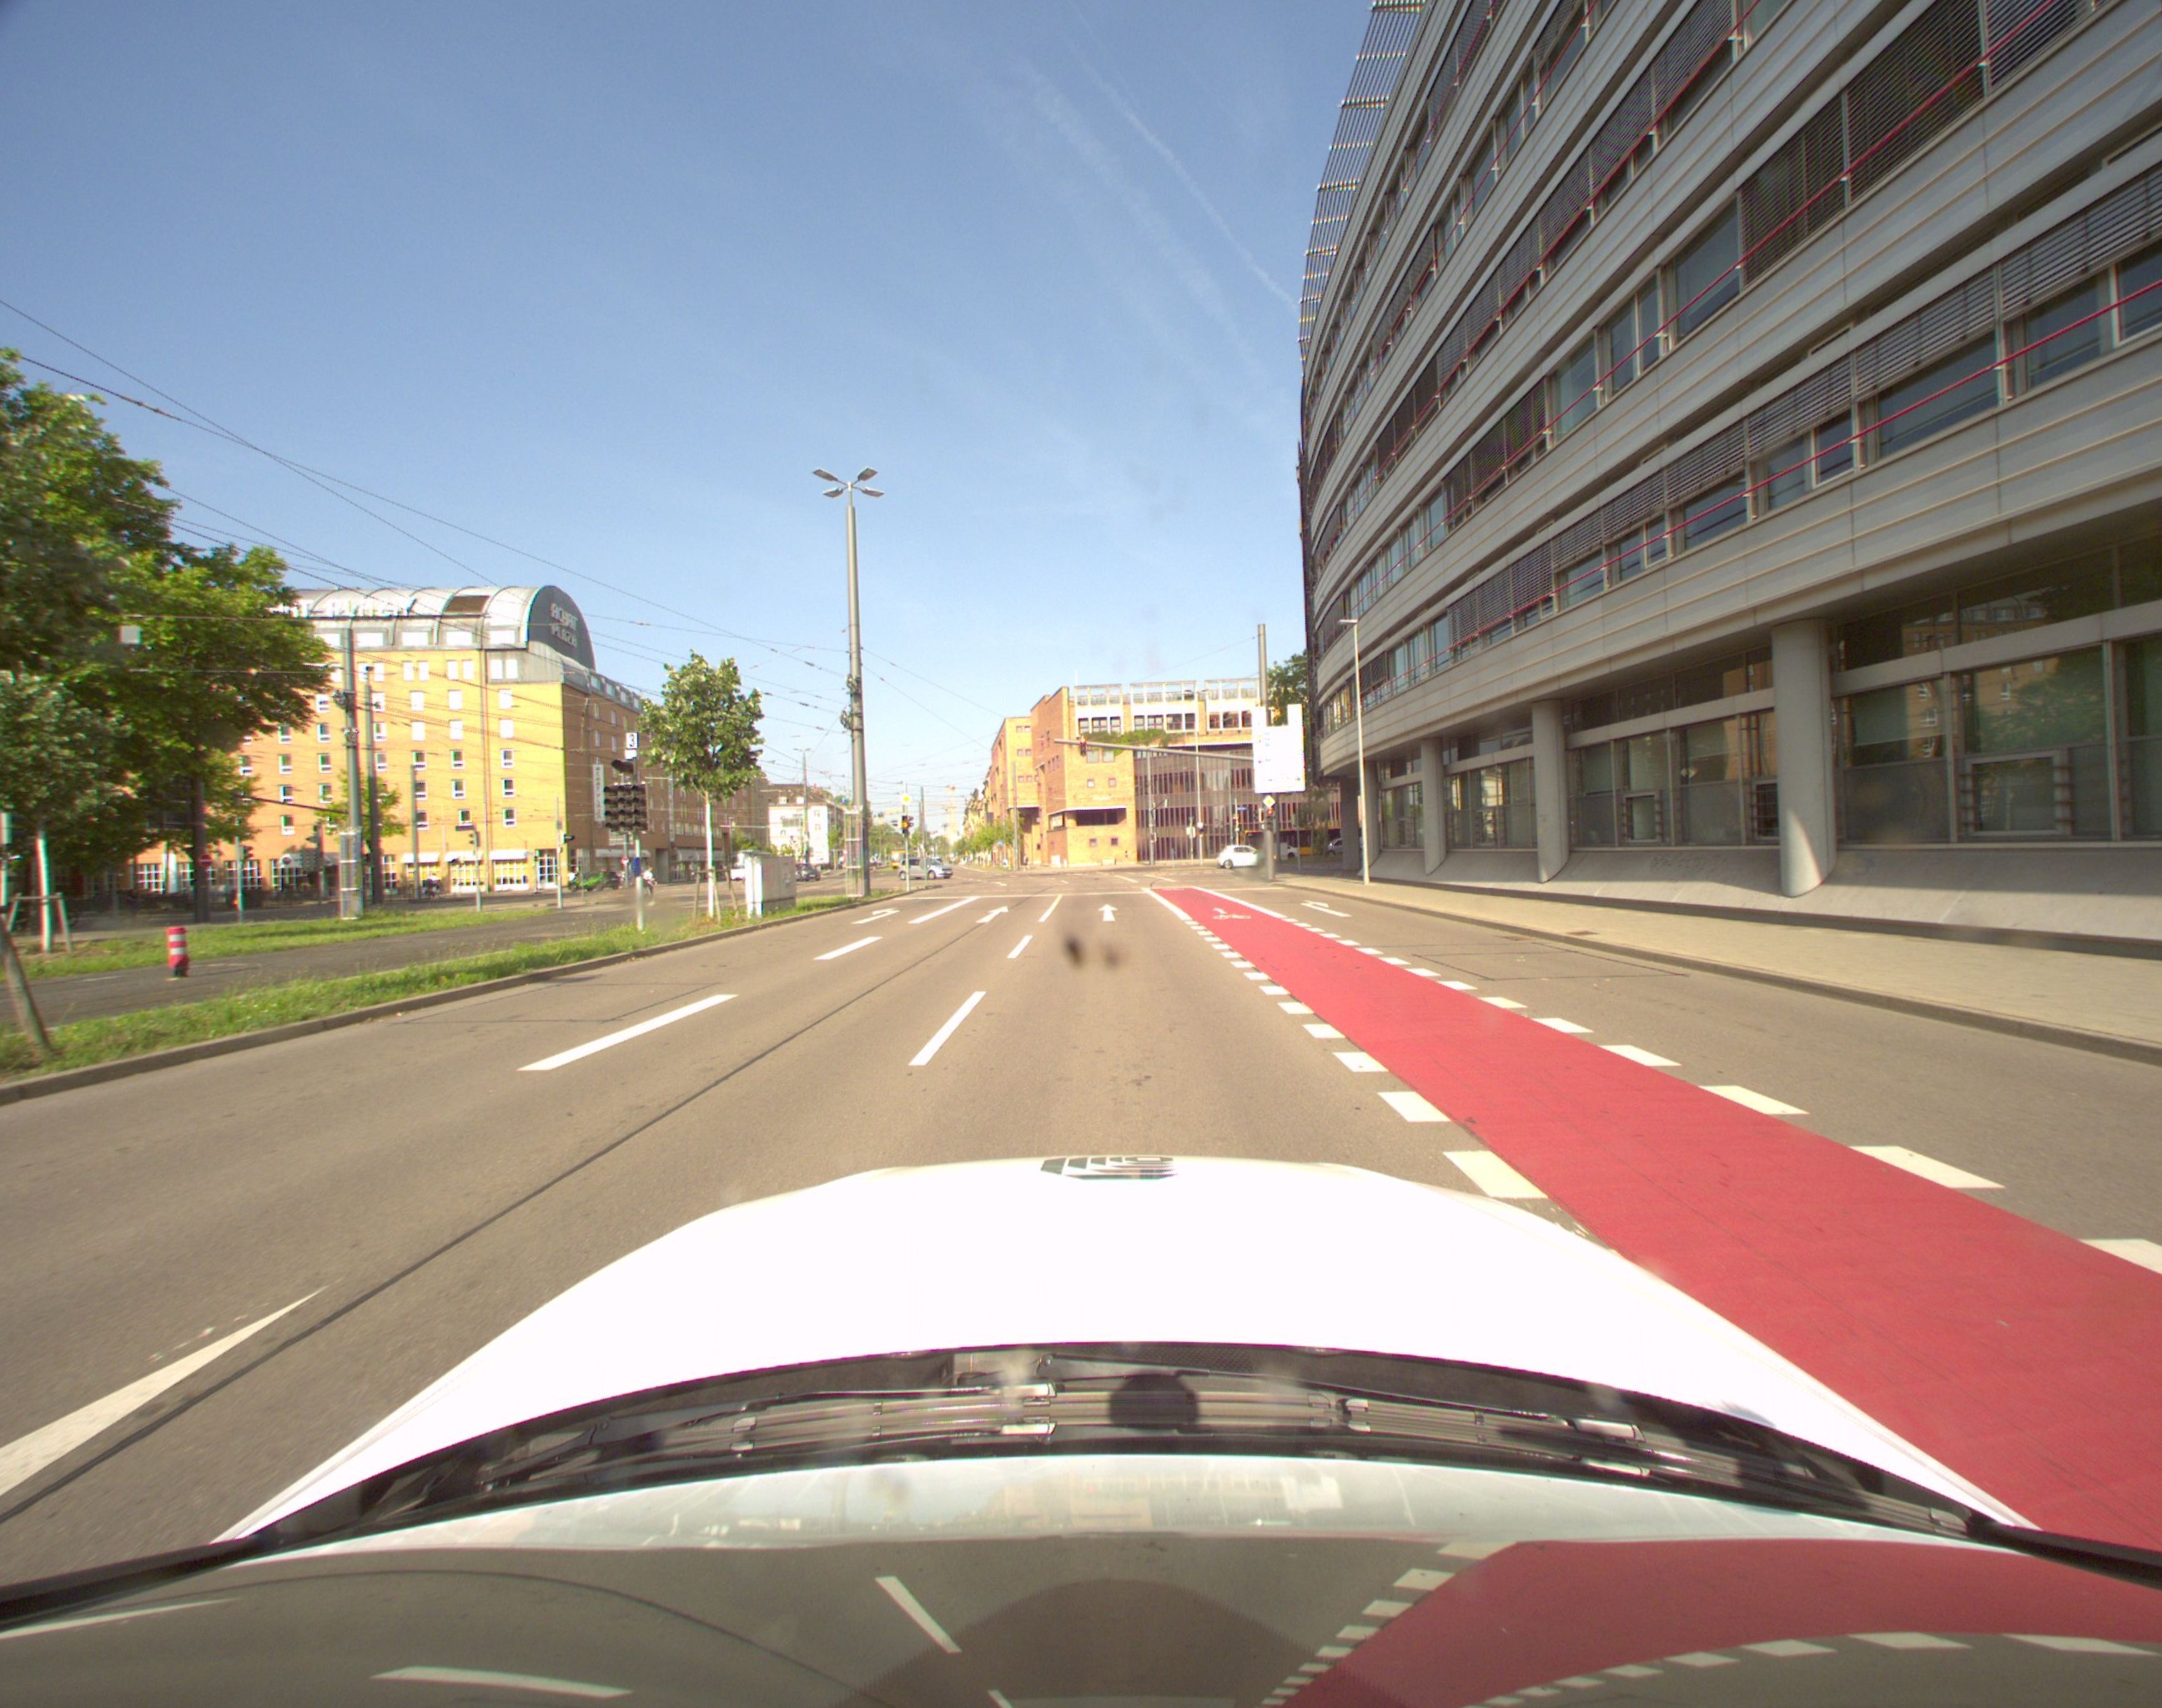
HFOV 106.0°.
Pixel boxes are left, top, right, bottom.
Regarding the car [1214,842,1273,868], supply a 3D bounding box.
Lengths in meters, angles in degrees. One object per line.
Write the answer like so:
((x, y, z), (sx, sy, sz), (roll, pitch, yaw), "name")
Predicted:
((10.583, 0.063, 53.106), (3.426, 1.542, 1.734), (-2, -1, -1), "car")

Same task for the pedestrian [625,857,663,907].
((-18.459, 1.180, 34.386), (1.154, 2.014, 0.774), (-2, -2, -6), "pedestrian")

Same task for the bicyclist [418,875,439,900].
((-46.522, 2.403, 58.073), (0.661, 1.747, 0.968), (-2, -2, 4), "bicyclist")

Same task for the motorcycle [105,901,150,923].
((-47.344, 2.856, 40.453), (1.688, 0.995, 0.283), (-2, -2, -7), "motorcycle")

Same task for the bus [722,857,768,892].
((-40.966, 2.535, 99.794), (2.748, 3.921, 12.167), (-2, -1, -11), "bus")

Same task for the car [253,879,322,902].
((-64.580, 2.985, 66.313), (3.604, 1.624, 1.865), (-2, 0, -4), "car")

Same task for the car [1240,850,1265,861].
((15.222, 0.134, 72.350), (1.946, 0.958, 1.093), (0, -2, -2), "car")

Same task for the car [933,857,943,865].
((-33.523, 1.668, 190.969), (2.074, 1.542, 4.397), (-2, -1, -11), "car")

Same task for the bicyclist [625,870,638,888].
((-44.531, 2.489, 80.728), (0.988, 1.695, 0.667), (-2, -2, -14), "bicyclist")

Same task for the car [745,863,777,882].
((-30.673, 1.795, 78.061), (1.999, 1.635, 4.368), (-2, -1, -32), "car")

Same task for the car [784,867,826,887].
((-23.053, 1.937, 67.937), (3.557, 1.492, 1.713), (-3, 0, 42), "car")

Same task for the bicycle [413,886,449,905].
((-46.487, 2.955, 58.255), (0.546, 1.206, 2.290), (-2, -1, 4), "bicycle")

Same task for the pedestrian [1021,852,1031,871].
((-6.137, 0.823, 91.040), (0.834, 2.013, 0.814), (-2, 0, 15), "pedestrian")

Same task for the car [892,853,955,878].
((-11.533, 0.842, 59.537), (4.336, 1.634, 1.701), (-2, 2, 30), "car")

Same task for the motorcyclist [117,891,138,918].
((-47.384, 2.500, 40.462), (0.530, 1.322, 0.417), (-2, -2, -7), "motorcyclist")

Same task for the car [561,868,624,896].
((-39.100, 2.228, 65.155), (3.960, 2.014, 2.007), (-3, -2, 12), "car")

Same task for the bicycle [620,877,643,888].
((-44.520, 2.852, 80.717), (1.963, 0.970, 0.418), (-2, -2, -15), "bicycle")

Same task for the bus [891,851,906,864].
((-30.626, 0.569, 136.277), (1.999, 2.013, 3.975), (-2, 0, -18), "bus")

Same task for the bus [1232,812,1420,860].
((23.313, -1.721, 77.570), (17.606, 3.810, 2.856), (-2, -2, -9), "bus")

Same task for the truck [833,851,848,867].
((-42.171, 0.891, 142.920), (1.994, 2.598, 4.723), (-2, 1, -11), "truck")
